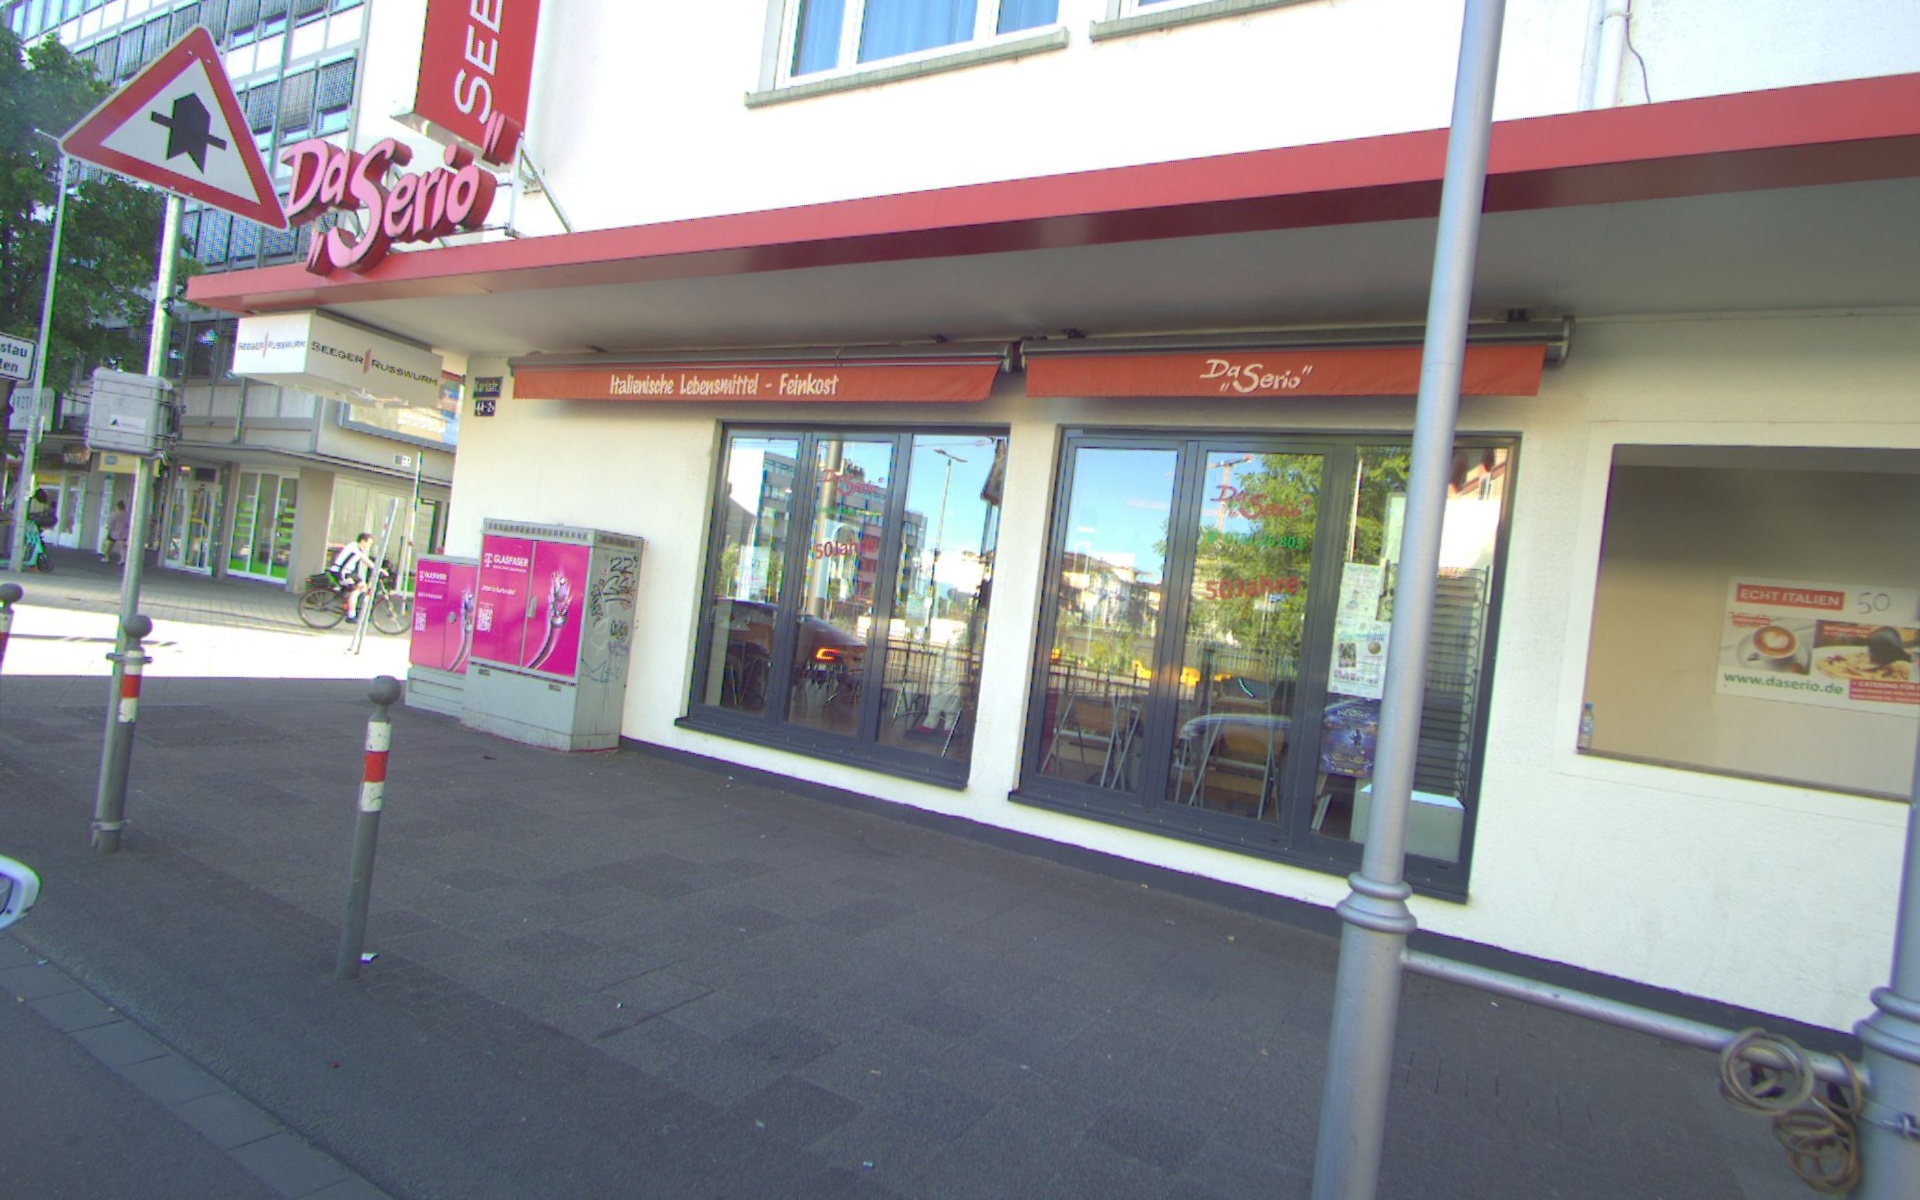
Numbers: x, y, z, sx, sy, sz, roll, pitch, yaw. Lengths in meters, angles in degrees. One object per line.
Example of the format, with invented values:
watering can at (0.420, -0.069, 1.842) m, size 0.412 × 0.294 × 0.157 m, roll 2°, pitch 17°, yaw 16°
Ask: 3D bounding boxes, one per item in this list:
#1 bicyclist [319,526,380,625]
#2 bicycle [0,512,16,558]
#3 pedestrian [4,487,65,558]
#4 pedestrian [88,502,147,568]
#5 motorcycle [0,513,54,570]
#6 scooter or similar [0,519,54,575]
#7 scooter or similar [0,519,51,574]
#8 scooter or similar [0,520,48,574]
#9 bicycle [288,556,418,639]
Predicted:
bicyclist at (-10.878, -0.424, 17.954) m, size 0.674 × 1.650 × 0.575 m, roll 8°, pitch -1°, yaw -23°
bicycle at (-23.294, -1.605, 23.443) m, size 0.392 × 1.069 × 1.856 m, roll 7°, pitch 0°, yaw 21°
pedestrian at (-24.559, -2.055, 26.696) m, size 0.865 × 1.727 × 0.844 m, roll 6°, pitch -1°, yaw 31°
pedestrian at (-22.651, -1.742, 27.054) m, size 0.865 × 1.621 × 0.844 m, roll 6°, pitch -1°, yaw 31°
motorcycle at (-21.496, -1.377, 22.409) m, size 0.495 × 1.142 × 1.791 m, roll 7°, pitch -2°, yaw 29°
scooter or similar at (-19.694, -1.118, 21.072) m, size 0.157 × 1.056 × 0.964 m, roll 7°, pitch -1°, yaw 34°
scooter or similar at (-19.856, -1.122, 21.181) m, size 0.157 × 1.051 × 0.957 m, roll 7°, pitch -1°, yaw 34°
scooter or similar at (-20.020, -1.130, 21.292) m, size 0.157 × 1.039 × 0.964 m, roll 7°, pitch -1°, yaw 34°
bicycle at (-10.810, -0.028, 17.991) m, size 1.803 × 1.226 × 0.579 m, roll 8°, pitch -1°, yaw -24°
